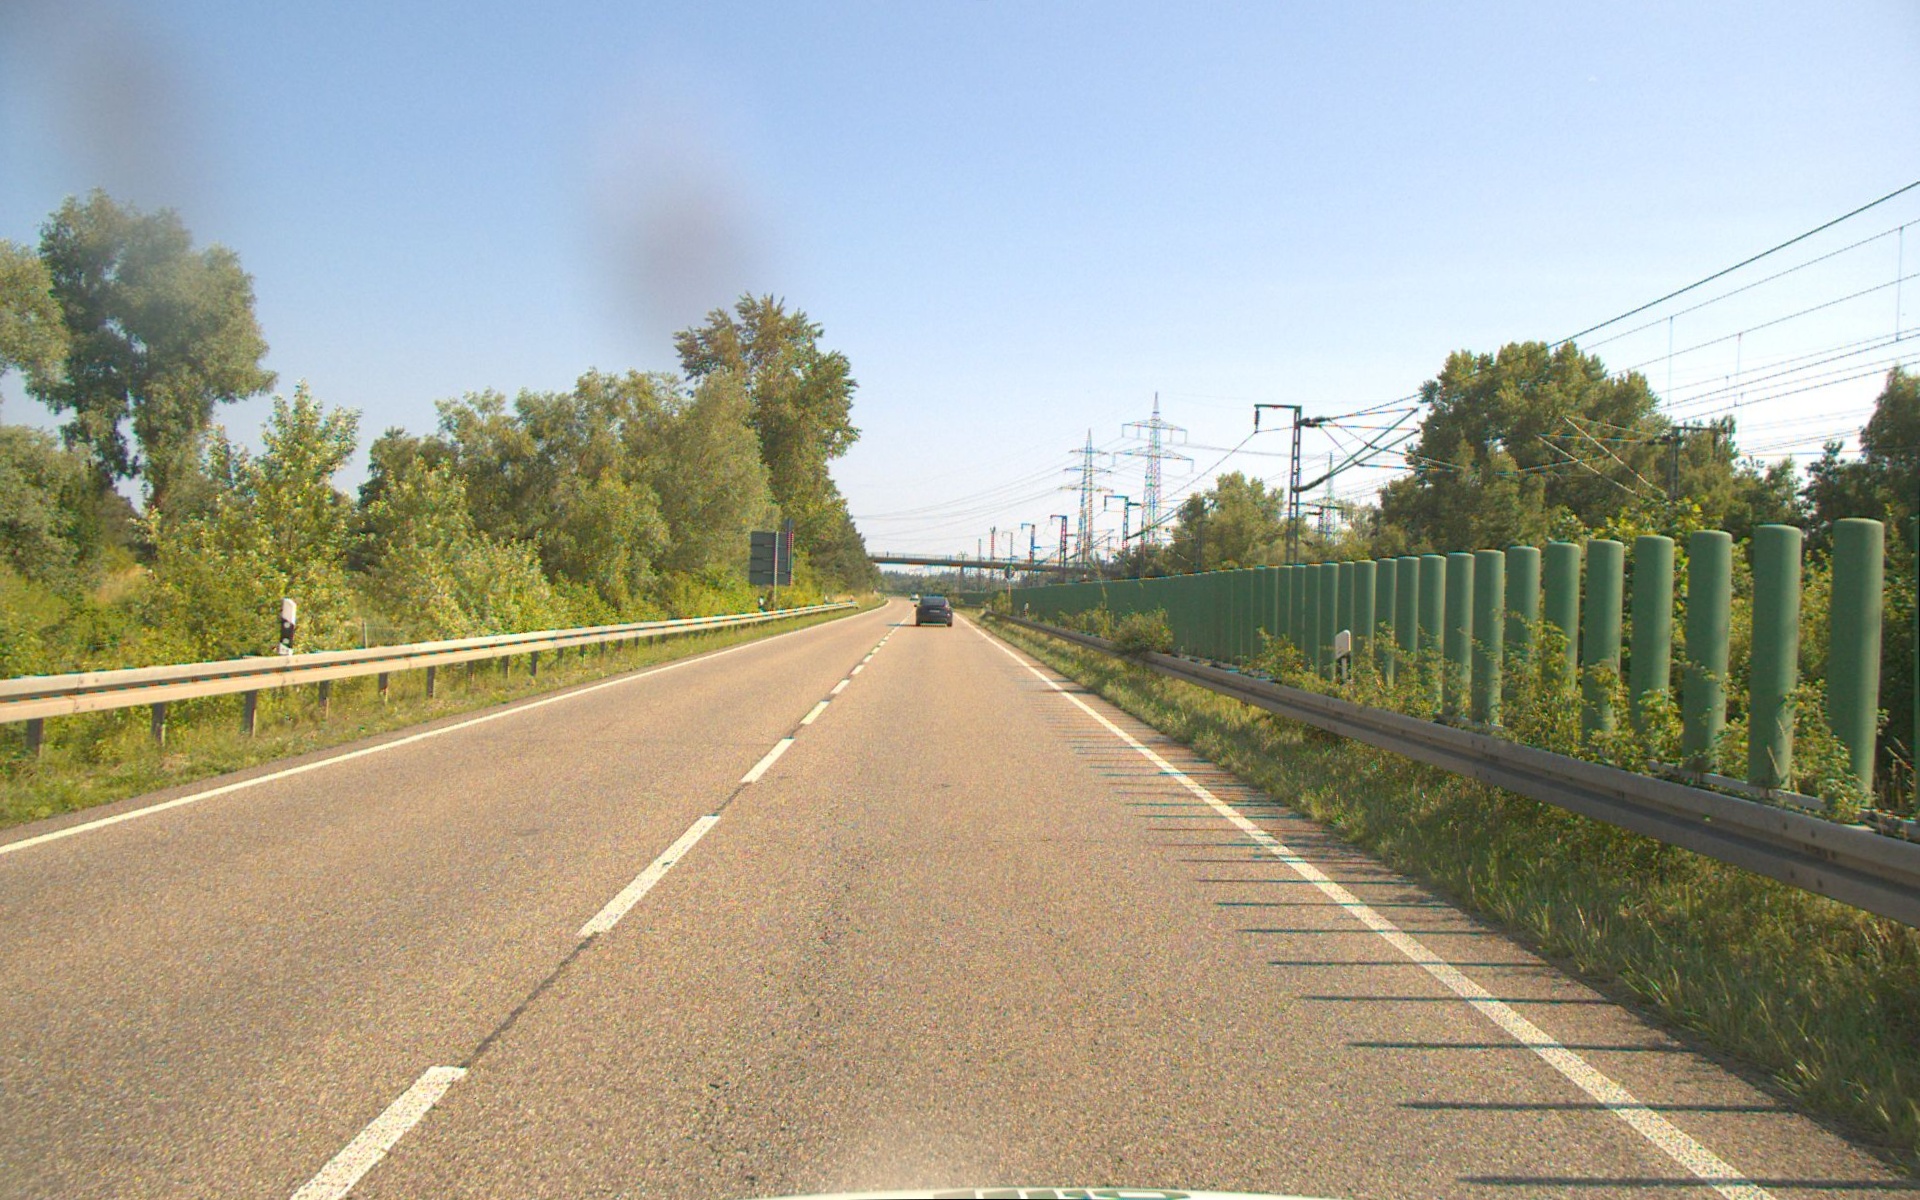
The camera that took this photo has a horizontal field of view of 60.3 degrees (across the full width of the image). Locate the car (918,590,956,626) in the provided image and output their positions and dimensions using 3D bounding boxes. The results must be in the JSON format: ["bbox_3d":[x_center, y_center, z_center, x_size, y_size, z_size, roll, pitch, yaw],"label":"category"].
[{"bbox_3d":[-1.169,0.380,82.145,1.821,1.670,3.999,1,0,-2],"label":"car"}]
